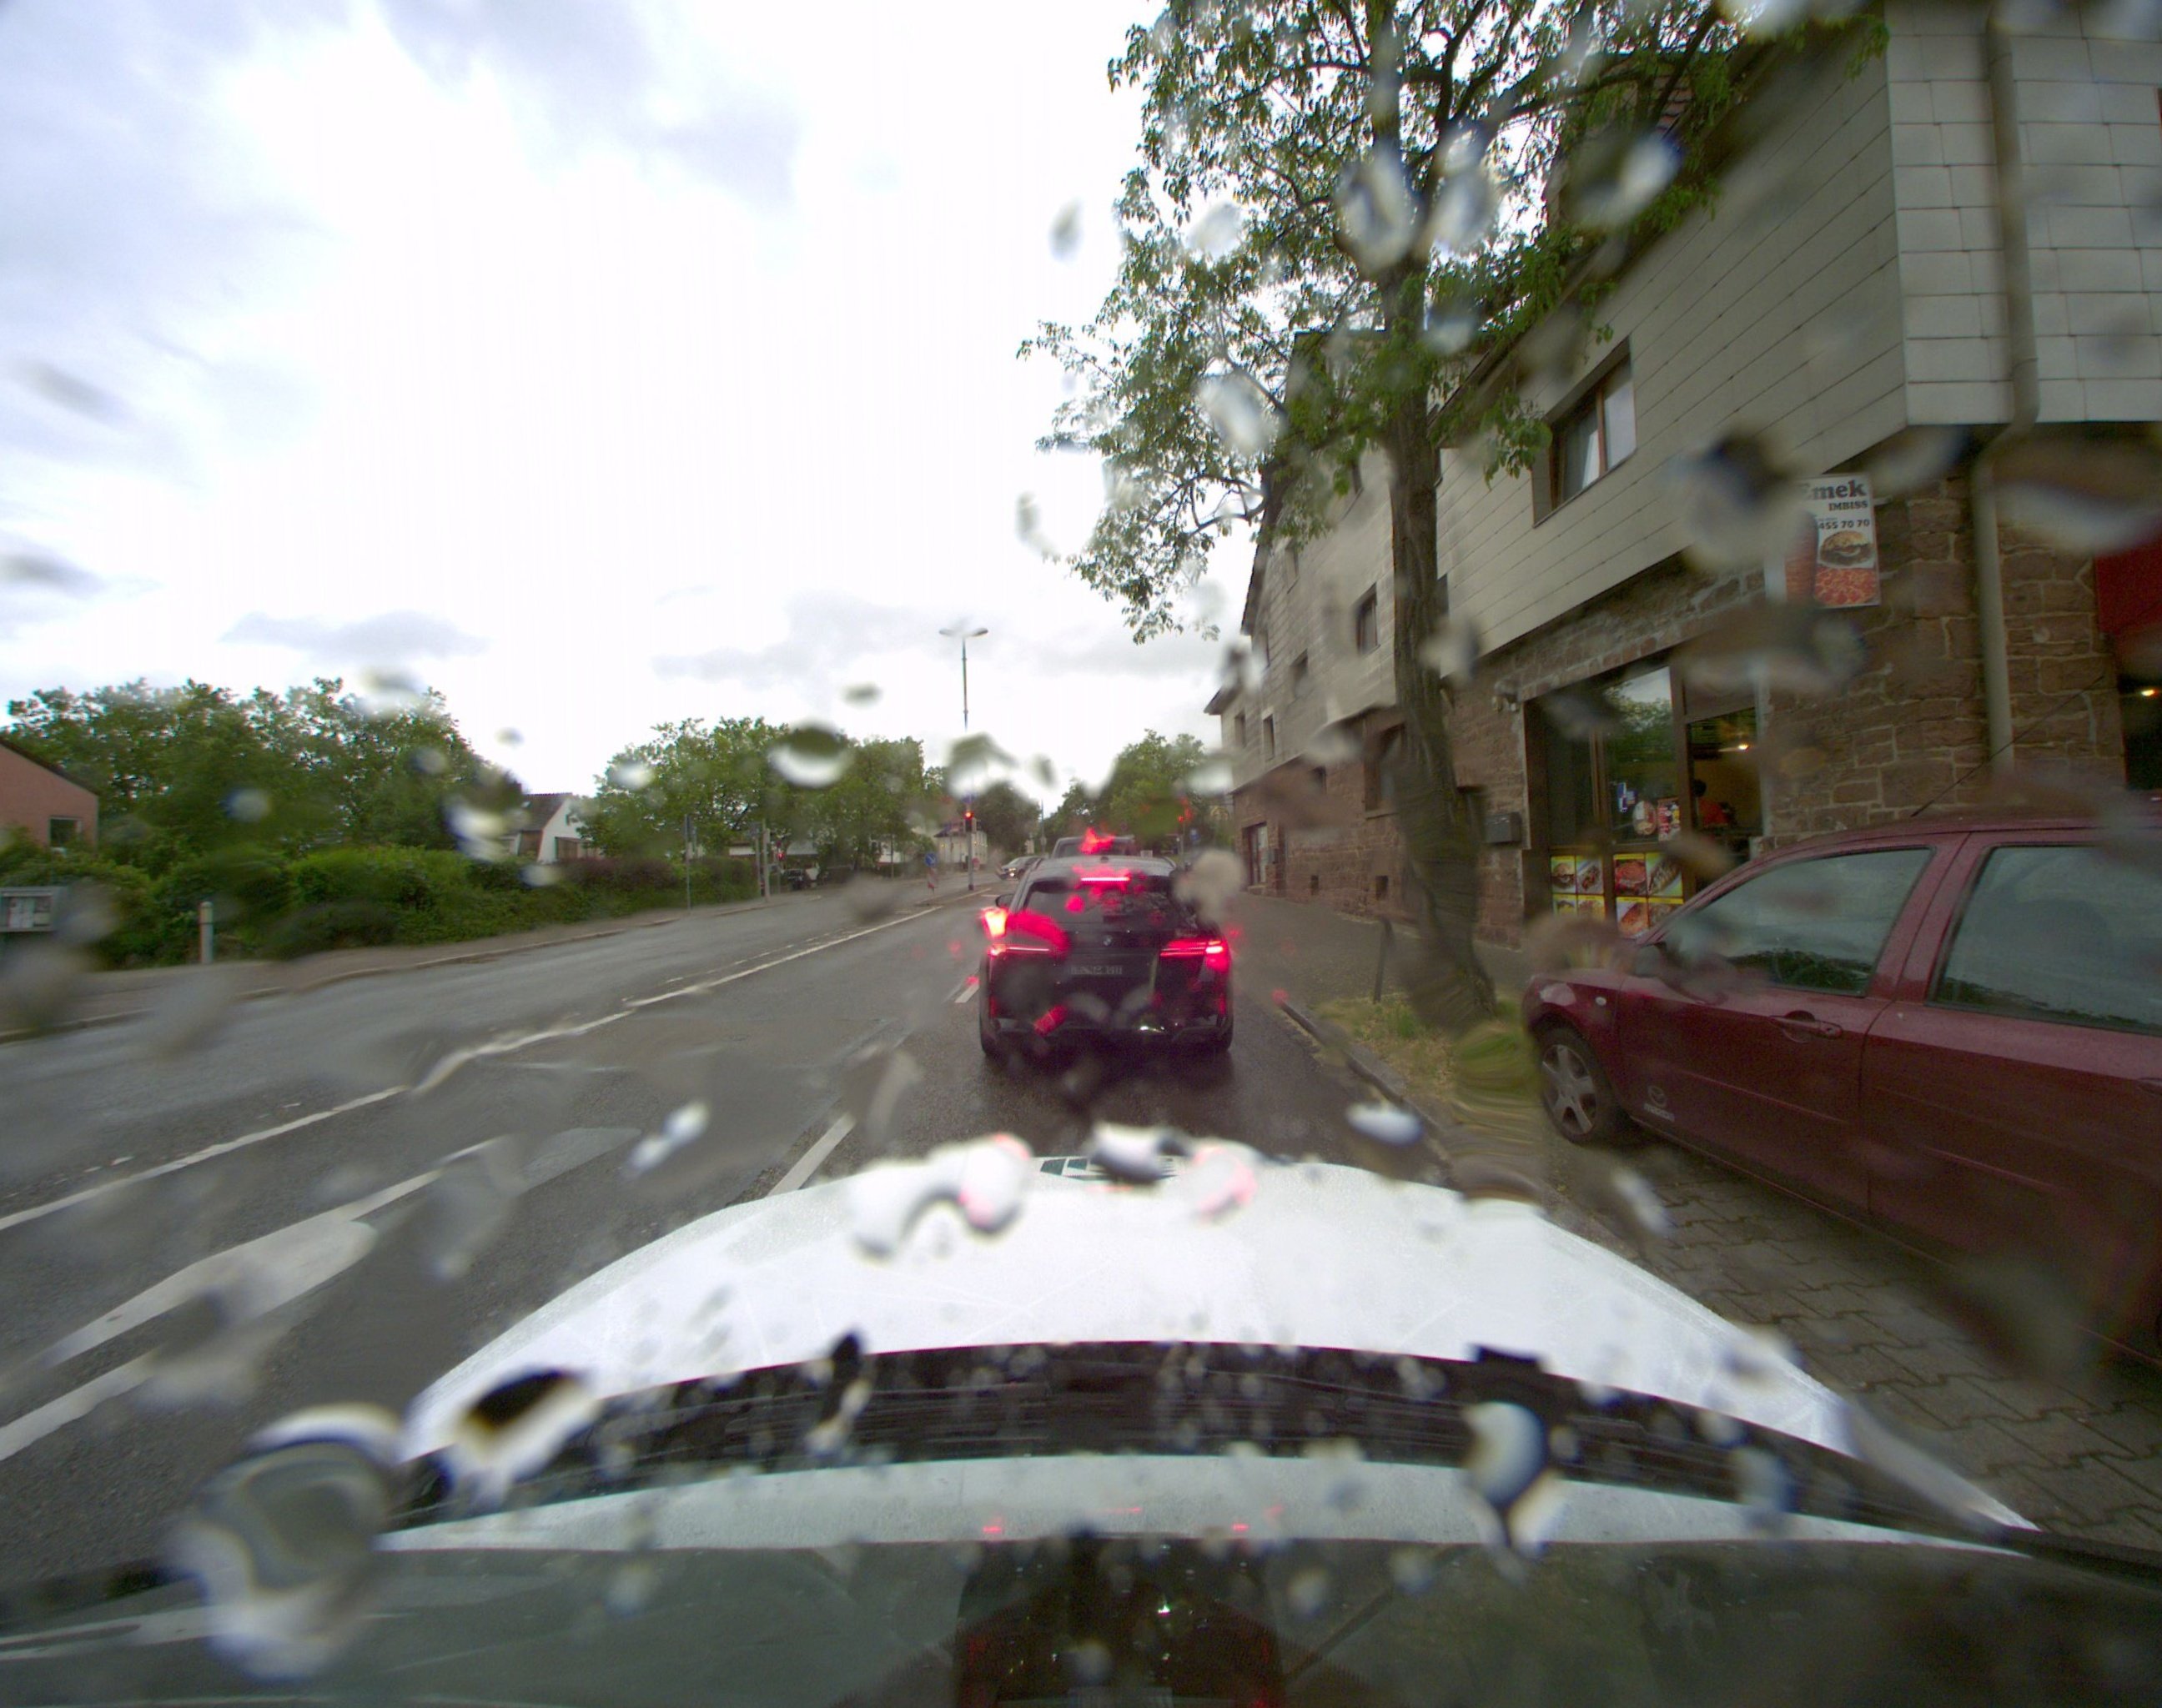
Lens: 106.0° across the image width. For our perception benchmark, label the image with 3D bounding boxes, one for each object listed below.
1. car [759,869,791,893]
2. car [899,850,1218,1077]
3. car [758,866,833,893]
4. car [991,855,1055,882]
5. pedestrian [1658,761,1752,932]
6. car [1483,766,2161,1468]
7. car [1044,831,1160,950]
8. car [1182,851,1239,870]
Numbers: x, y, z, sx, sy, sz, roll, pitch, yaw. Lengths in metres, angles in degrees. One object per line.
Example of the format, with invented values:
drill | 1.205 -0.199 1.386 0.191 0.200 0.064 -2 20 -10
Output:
car | -21.656 1.874 57.738 2.000 1.552 3.973 -2 0 -20
car | -0.166 0.716 7.550 2.058 1.446 4.481 -1 0 -1
car | -18.286 1.629 52.356 4.479 1.587 2.059 -1 0 -17
car | -3.553 0.877 50.734 1.974 1.510 3.980 -1 0 33
pedestrian | 6.945 -0.078 9.087 0.635 1.839 0.483 -1 0 1
car | 3.040 0.504 2.611 1.579 1.490 3.626 -5 1 -1
car | 0.320 0.557 14.750 1.778 1.817 3.999 -1 0 0
car | 9.729 0.461 61.368 3.979 1.288 1.846 -2 0 -4
